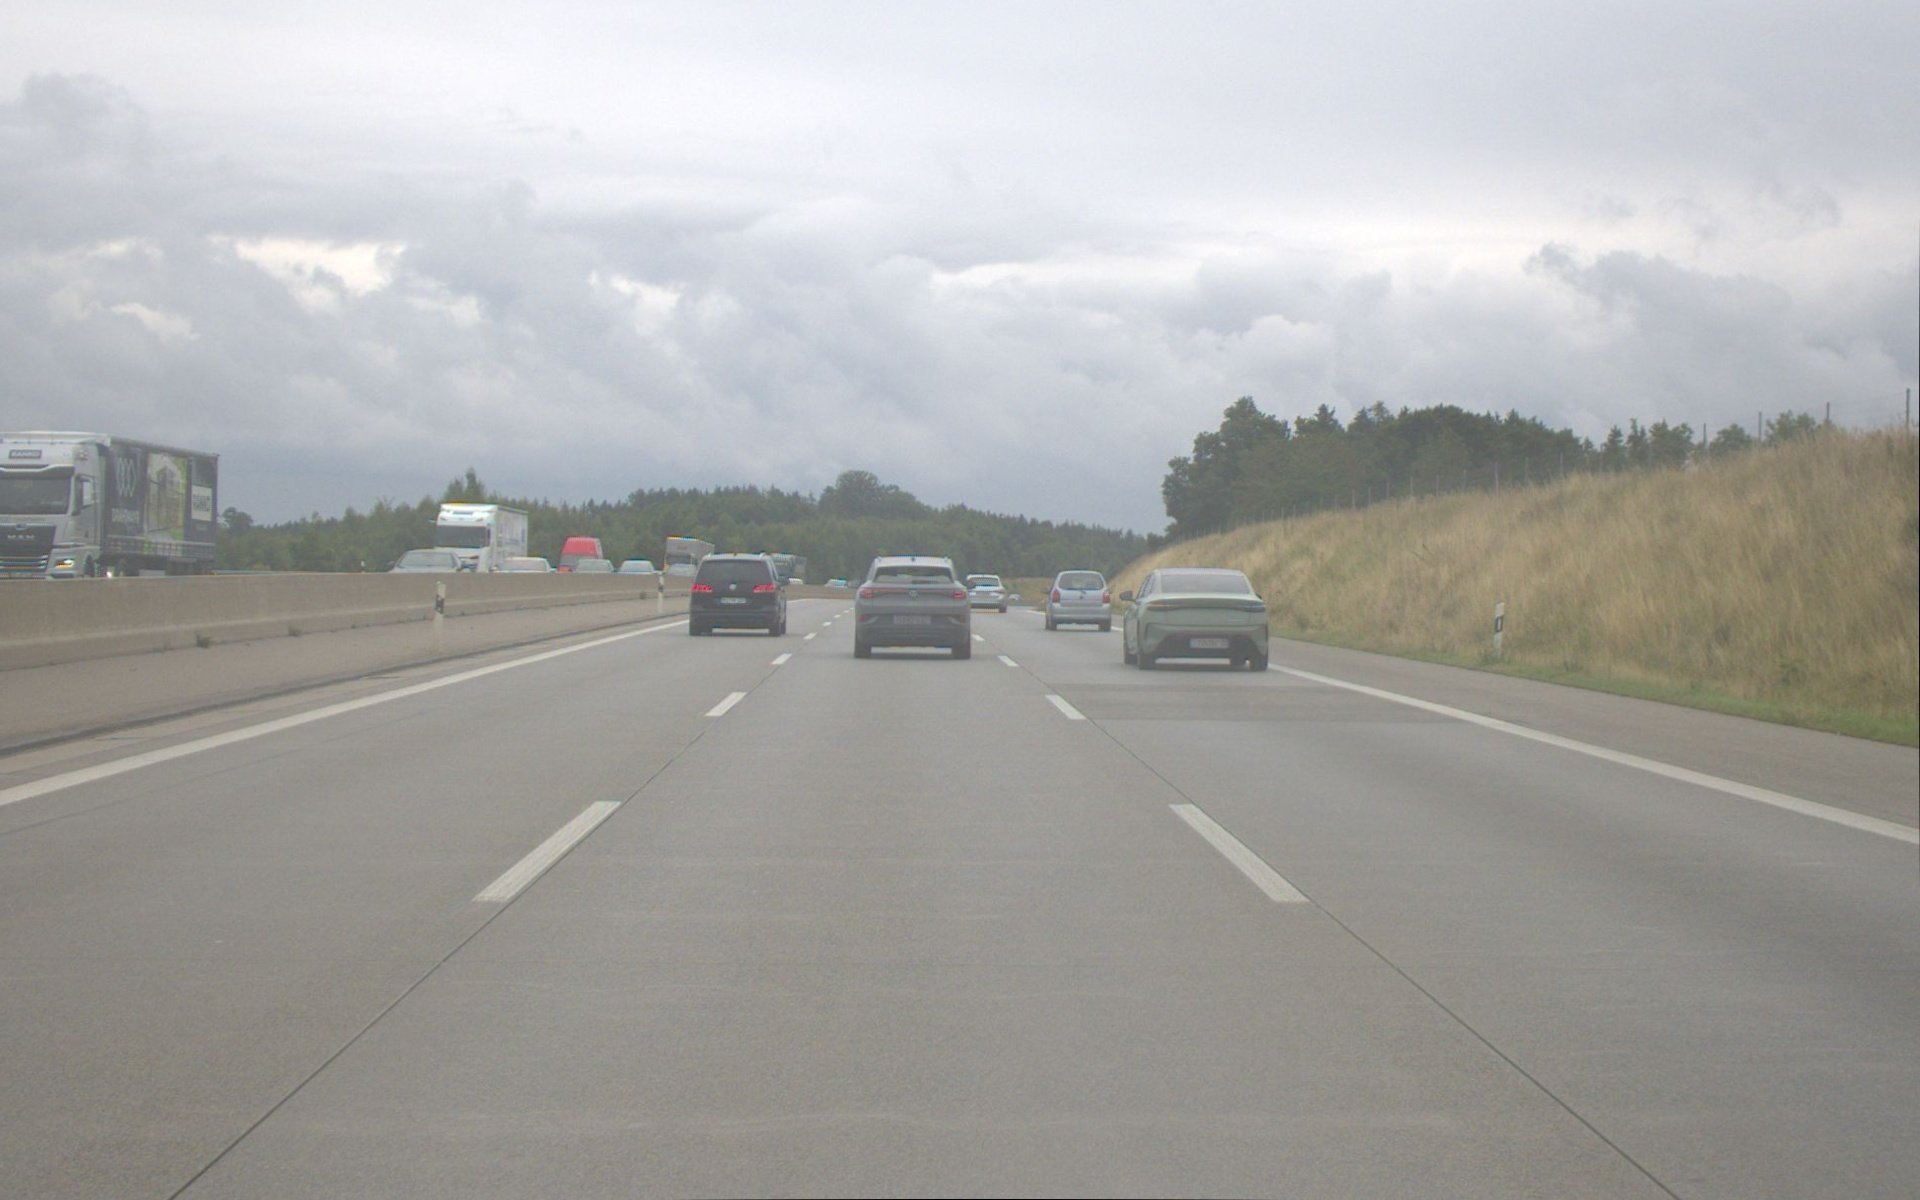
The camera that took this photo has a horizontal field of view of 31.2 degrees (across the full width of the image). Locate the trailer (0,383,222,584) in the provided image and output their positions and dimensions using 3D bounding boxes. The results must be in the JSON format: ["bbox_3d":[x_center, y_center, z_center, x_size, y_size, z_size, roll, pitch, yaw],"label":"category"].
[{"bbox_3d":[-22.130,-2.945,88.831,3.598,4.783,12.909,1,1,-1],"label":"trailer"}]

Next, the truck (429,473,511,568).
[{"bbox_3d":[-22.588,-3.677,158.789,2.883,4.276,7.137,1,1,-2],"label":"truck"}]

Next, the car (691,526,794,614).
[{"bbox_3d":[-4.469,-0.655,71.161,1.785,1.741,3.915,1,1,1],"label":"car"}]

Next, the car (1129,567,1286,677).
[{"bbox_3d":[3.558,0.279,50.161,2.014,1.441,4.745,1,1,1],"label":"car"}]

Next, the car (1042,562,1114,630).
[{"bbox_3d":[2.827,-0.108,83.045,1.485,1.465,3.505,3,1,-1],"label":"car"}]

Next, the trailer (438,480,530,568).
[{"bbox_3d":[-22.758,-3.648,164.947,2.887,3.989,13.016,1,1,-2],"label":"trailer"}]

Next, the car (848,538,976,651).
[{"bbox_3d":[-0.824,-0.128,55.489,1.898,1.684,5.267,1,1,-2],"label":"car"}]

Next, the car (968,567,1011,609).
[{"bbox_3d":[1.113,-0.467,131.879,1.485,1.465,3.505,3,1,-1],"label":"car"}]

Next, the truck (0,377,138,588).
[{"bbox_3d":[-21.959,-2.771,81.562,3.587,4.802,5.869,1,1,-1],"label":"truck"}]
